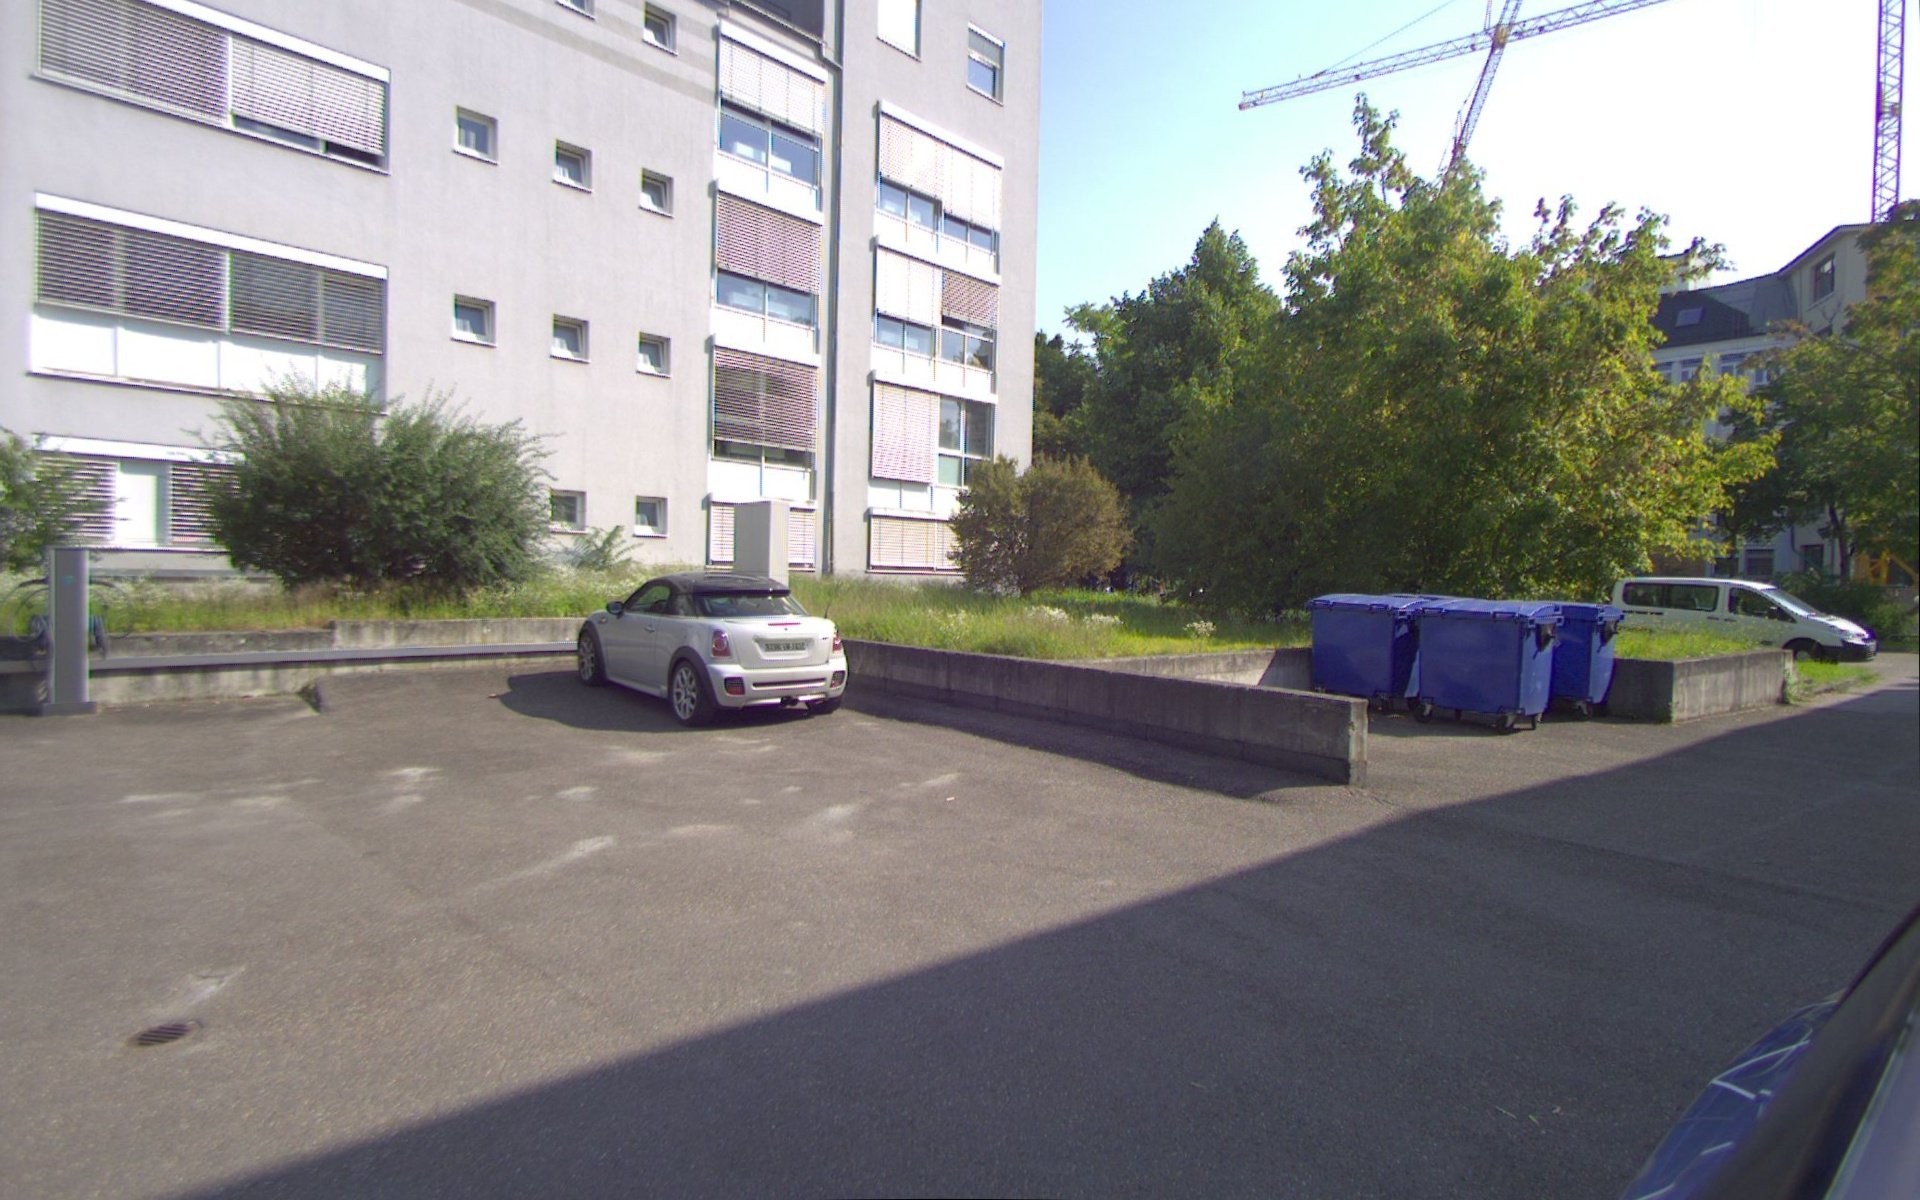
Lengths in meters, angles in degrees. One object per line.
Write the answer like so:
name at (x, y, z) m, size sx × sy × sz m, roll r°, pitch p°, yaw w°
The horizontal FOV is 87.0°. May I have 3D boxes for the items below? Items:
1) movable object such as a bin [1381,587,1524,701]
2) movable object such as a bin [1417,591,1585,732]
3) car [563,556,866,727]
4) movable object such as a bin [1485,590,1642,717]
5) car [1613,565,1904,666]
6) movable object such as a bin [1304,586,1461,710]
movable object such as a bin at (6.317, 0.524, 12.997) m, size 1.252 × 1.344 × 1.200 m, roll 0°, pitch 1°, yaw -38°
movable object such as a bin at (5.842, 0.605, 10.939) m, size 1.253 × 1.368 × 1.213 m, roll 0°, pitch 1°, yaw -41°
car at (-2.735, 0.310, 10.769) m, size 1.630 × 1.455 × 3.576 m, roll 1°, pitch 2°, yaw -42°
movable object such as a bin at (7.079, 0.578, 11.880) m, size 1.252 × 1.344 × 1.200 m, roll 0°, pitch 1°, yaw -38°
car at (17.788, 0.254, 22.802) m, size 1.873 × 1.955 × 4.793 m, roll 1°, pitch 2°, yaw -37°
movable object such as a bin at (5.013, 0.522, 12.035) m, size 1.252 × 1.344 × 1.257 m, roll 0°, pitch 1°, yaw -38°
